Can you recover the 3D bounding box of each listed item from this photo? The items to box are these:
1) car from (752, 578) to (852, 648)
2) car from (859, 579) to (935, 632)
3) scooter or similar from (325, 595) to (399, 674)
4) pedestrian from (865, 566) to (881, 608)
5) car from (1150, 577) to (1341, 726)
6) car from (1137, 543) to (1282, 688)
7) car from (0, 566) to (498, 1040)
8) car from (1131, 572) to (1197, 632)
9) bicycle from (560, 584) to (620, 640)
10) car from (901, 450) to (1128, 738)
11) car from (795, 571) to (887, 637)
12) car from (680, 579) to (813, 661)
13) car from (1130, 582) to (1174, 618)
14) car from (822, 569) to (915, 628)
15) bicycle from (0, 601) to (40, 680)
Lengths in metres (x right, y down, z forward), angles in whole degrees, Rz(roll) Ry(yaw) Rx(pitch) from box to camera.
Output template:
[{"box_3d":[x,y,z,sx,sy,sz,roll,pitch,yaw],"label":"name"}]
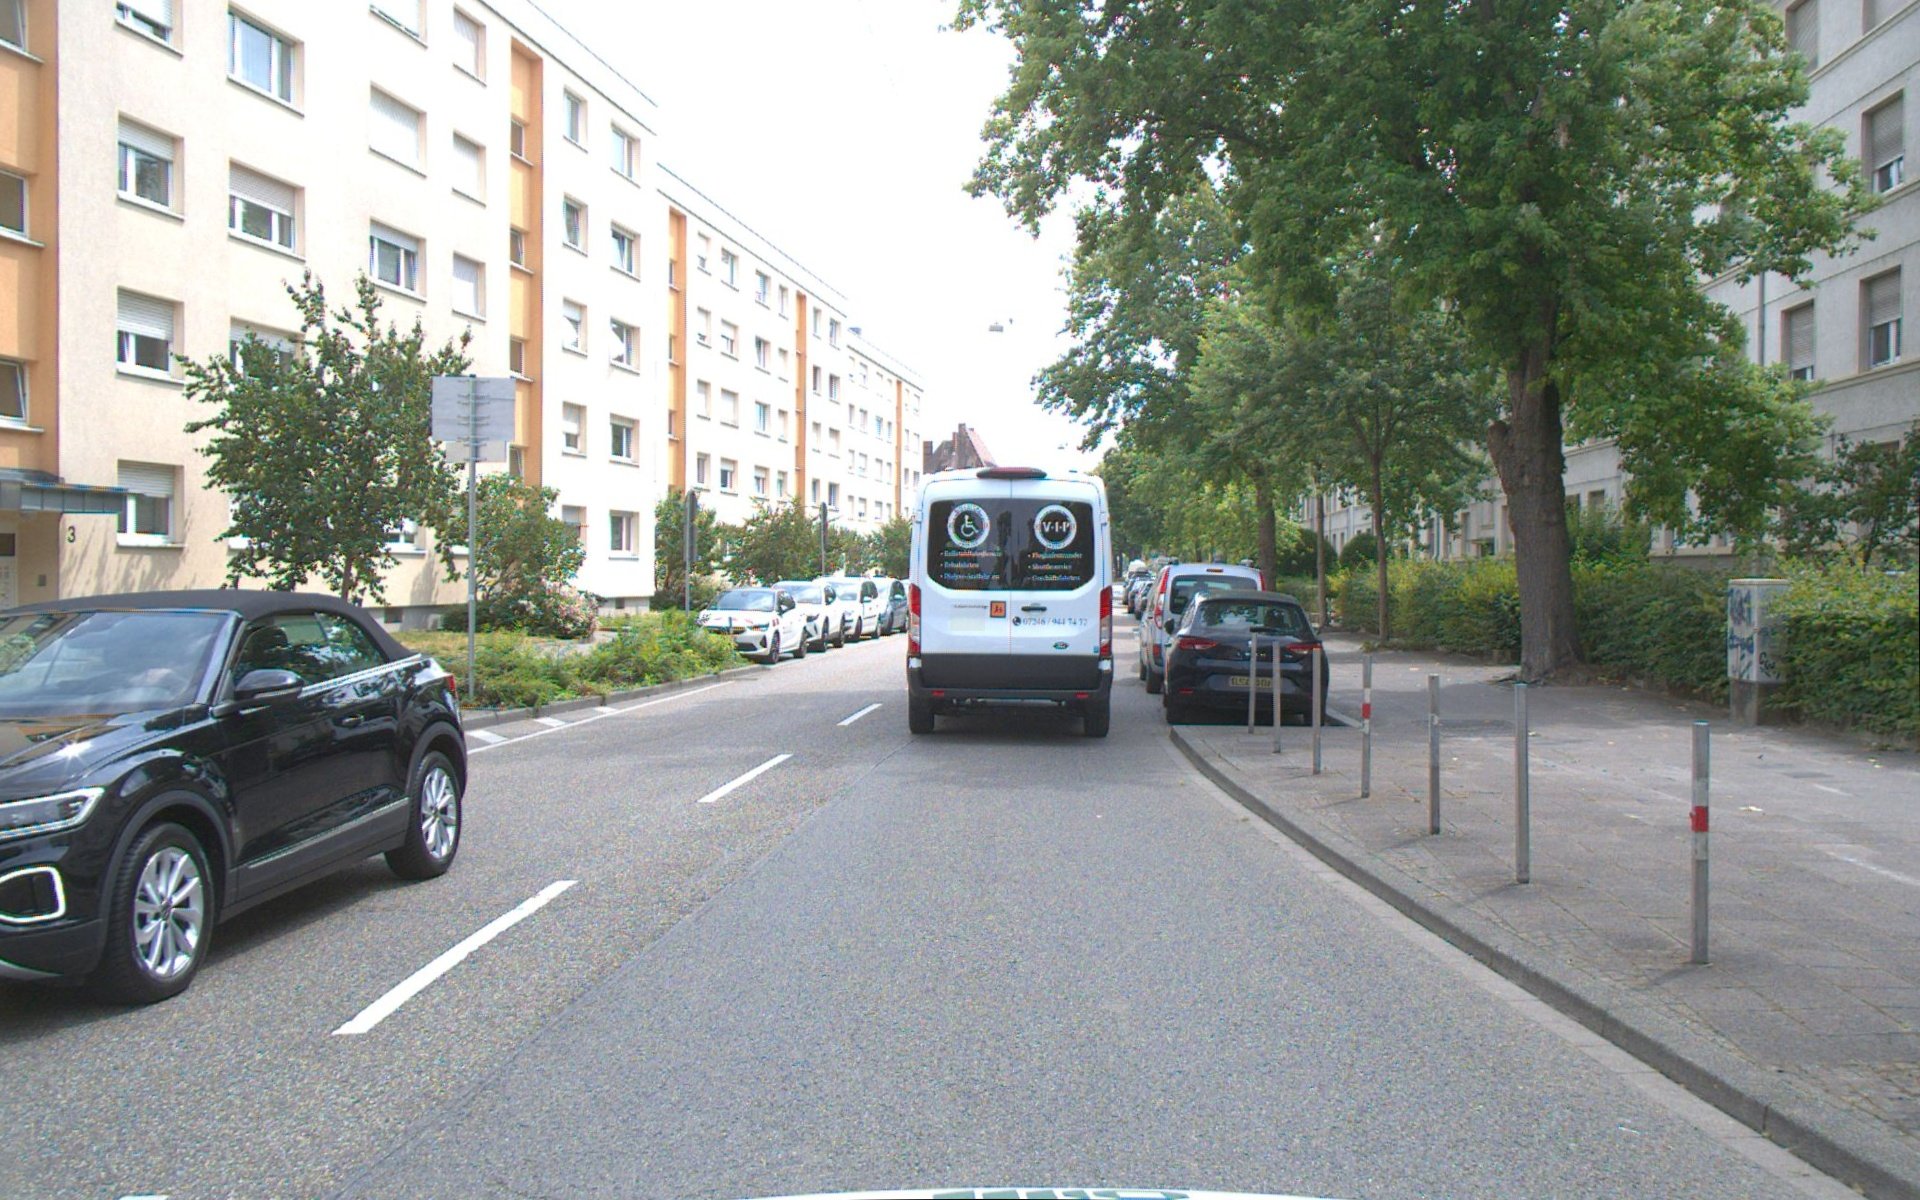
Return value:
[{"box_3d":[-3.624,0.256,38.520,1.672,1.498,3.991,1,1,4],"label":"car"},{"box_3d":[-2.048,0.148,55.162,1.901,1.641,4.305,1,1,6],"label":"car"},{"box_3d":[-9.486,0.533,26.291,0.393,1.214,1.291,1,1,17],"label":"scooter or similar"},{"box_3d":[-3.866,-0.563,73.650,0.606,1.844,0.900,1,0,3],"label":"pedestrian"},{"box_3d":[3.139,0.498,18.893,1.877,1.469,4.242,1,1,7],"label":"car"},{"box_3d":[3.622,0.178,24.570,1.877,1.898,4.850,1,1,7],"label":"car"},{"box_3d":[-3.614,0.646,7.434,1.661,1.544,4.003,-1,1,4],"label":"car"},{"box_3d":[5.449,0.033,44.410,1.661,1.495,4.104,2,1,6],"label":"car"},{"box_3d":[-8.921,0.269,39.942,0.566,1.273,1.935,0,2,16],"label":"bicycle"},{"box_3d":[0.644,-0.056,17.324,2.027,2.585,4.637,-1,0,4],"label":"car"},{"box_3d":[-3.115,0.076,44.152,1.661,1.641,4.480,1,1,6],"label":"car"},{"box_3d":[-4.197,0.351,33.121,1.672,1.498,3.992,2,1,7],"label":"car"},{"box_3d":[8.443,-0.039,72.602,1.742,1.495,4.618,2,1,8],"label":"car"},{"box_3d":[-2.668,-0.066,49.395,1.901,1.641,4.865,2,1,7],"label":"car"},{"box_3d":[-13.171,0.546,22.097,0.402,1.056,1.806,0,0,14],"label":"bicycle"}]
